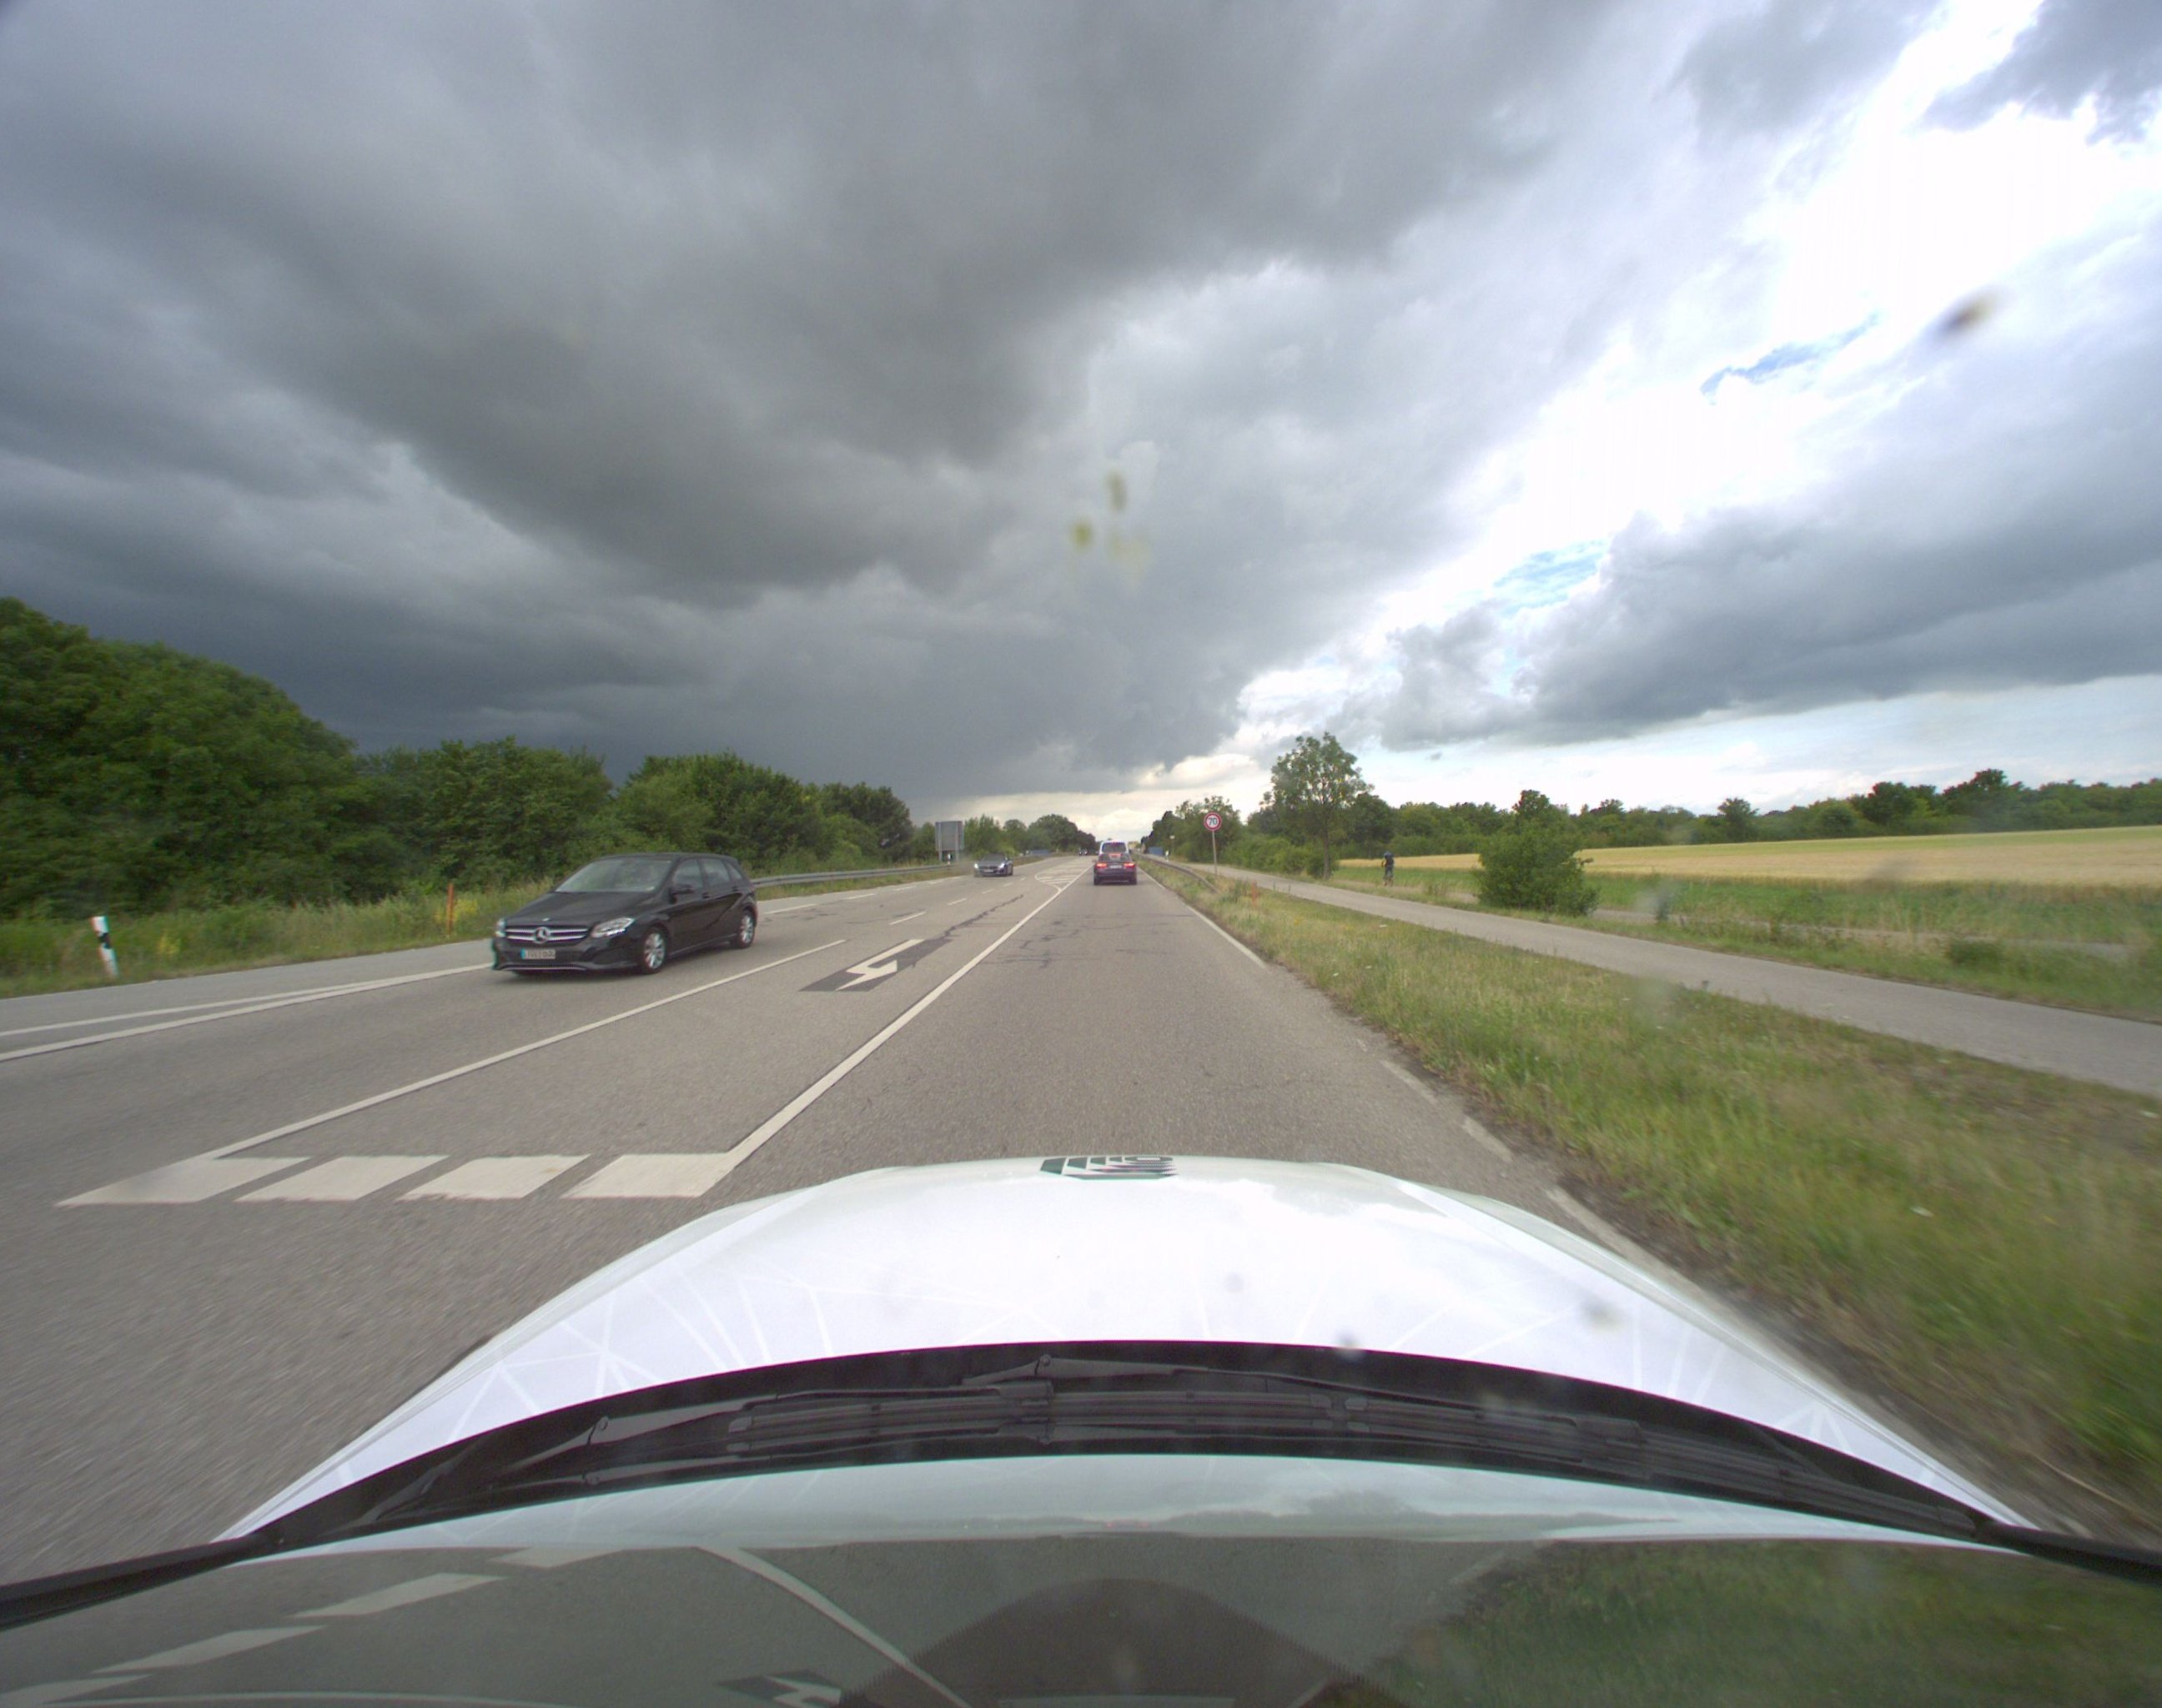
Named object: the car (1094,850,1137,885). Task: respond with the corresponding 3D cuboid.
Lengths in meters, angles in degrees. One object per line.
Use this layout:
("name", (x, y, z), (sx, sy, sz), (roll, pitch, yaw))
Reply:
("car", (1.495, 0.537, 35.374), (1.779, 1.424, 4.002), (0, 0, 2))

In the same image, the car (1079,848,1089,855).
("car", (0.625, -0.583, 176.716), (1.855, 1.376, 4.003), (1, 0, 3))

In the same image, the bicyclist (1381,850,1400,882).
("bicyclist", (15.690, 0.610, 41.319), (0.653, 1.581, 0.744), (0, -1, 1))

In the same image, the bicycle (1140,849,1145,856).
("bicycle", (9.191, -0.229, 121.808), (0.663, 0.920, 1.831), (-2, 0, 2))

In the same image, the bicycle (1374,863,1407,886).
("bicycle", (15.699, 1.014, 41.349), (0.653, 1.138, 2.832), (0, -1, 2))

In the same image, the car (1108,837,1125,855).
("car", (5.177, -1.126, 118.140), (2.437, 2.504, 5.045), (0, 1, 3))

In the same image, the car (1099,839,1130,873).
("car", (1.982, 0.113, 48.455), (1.779, 1.889, 4.002), (0, 0, 2))

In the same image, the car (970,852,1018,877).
("car", (-4.982, 0.578, 47.091), (2.156, 1.285, 4.239), (-1, 0, 1))

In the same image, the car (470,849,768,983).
("car", (-6.206, 0.714, 11.621), (1.735, 1.530, 4.200), (-1, 0, 2))

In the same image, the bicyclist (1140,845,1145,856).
("bicyclist", (9.188, -0.585, 121.879), (0.644, 1.645, 0.867), (-2, 0, 2))
